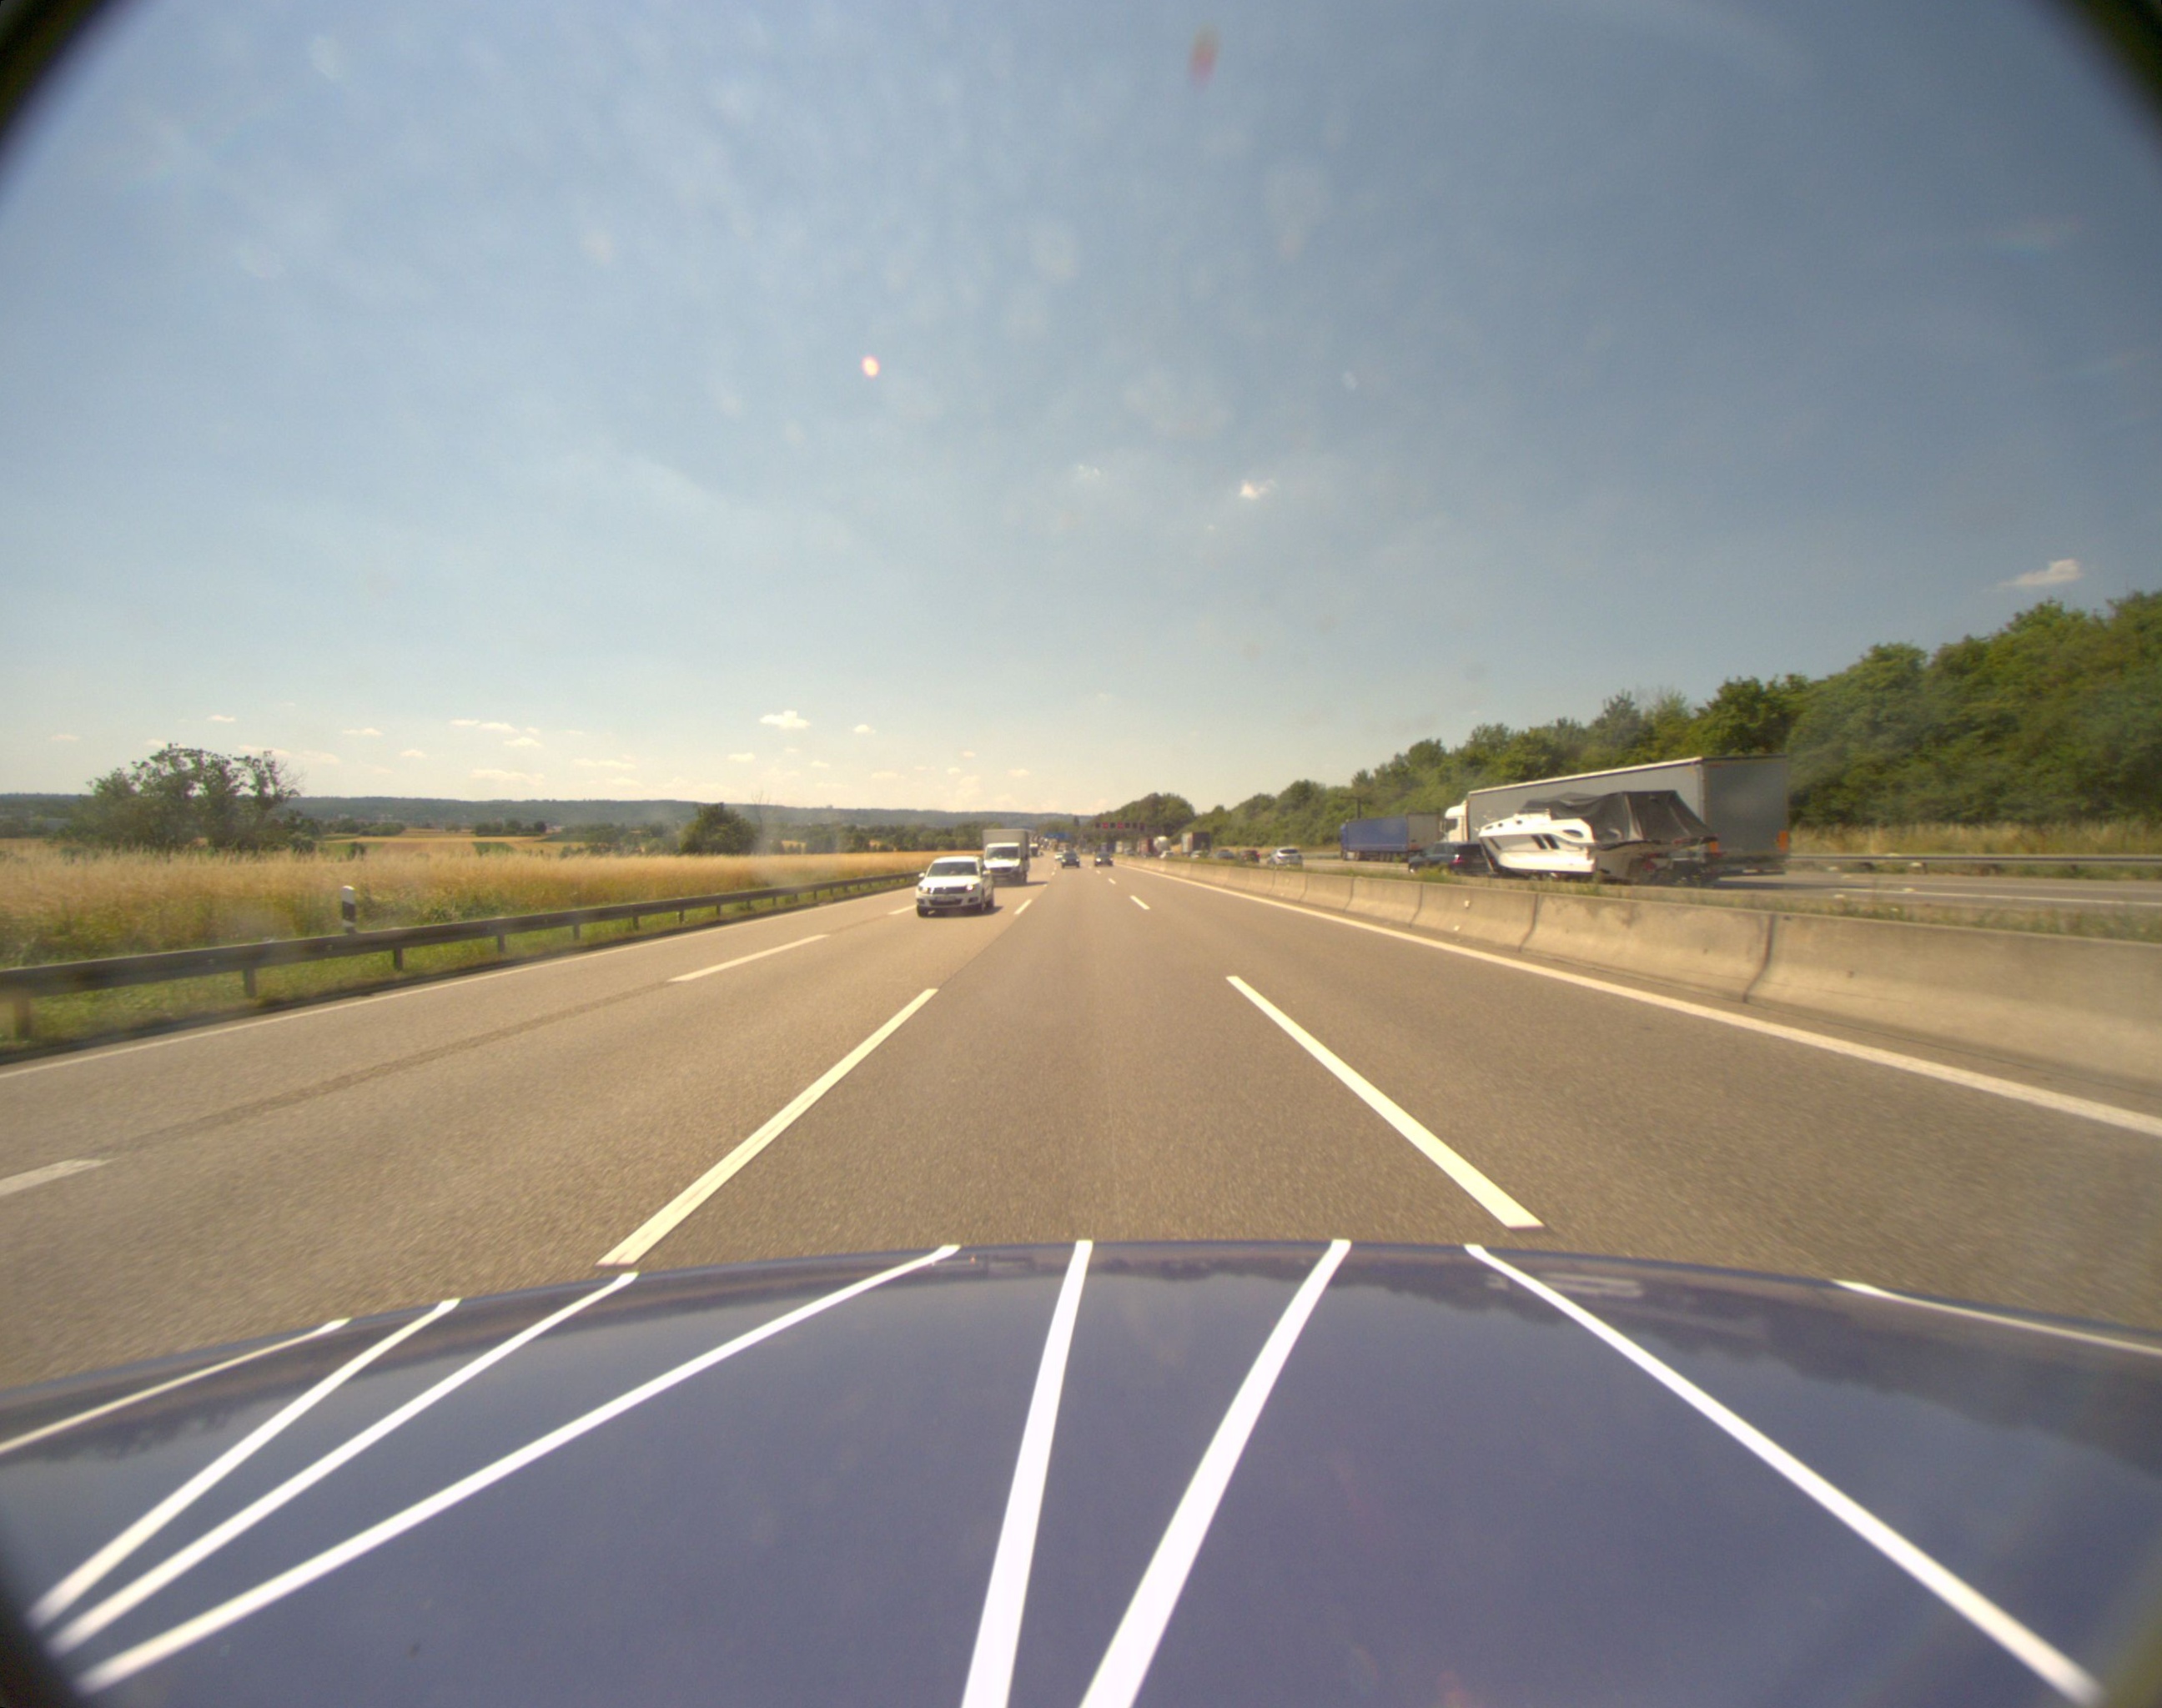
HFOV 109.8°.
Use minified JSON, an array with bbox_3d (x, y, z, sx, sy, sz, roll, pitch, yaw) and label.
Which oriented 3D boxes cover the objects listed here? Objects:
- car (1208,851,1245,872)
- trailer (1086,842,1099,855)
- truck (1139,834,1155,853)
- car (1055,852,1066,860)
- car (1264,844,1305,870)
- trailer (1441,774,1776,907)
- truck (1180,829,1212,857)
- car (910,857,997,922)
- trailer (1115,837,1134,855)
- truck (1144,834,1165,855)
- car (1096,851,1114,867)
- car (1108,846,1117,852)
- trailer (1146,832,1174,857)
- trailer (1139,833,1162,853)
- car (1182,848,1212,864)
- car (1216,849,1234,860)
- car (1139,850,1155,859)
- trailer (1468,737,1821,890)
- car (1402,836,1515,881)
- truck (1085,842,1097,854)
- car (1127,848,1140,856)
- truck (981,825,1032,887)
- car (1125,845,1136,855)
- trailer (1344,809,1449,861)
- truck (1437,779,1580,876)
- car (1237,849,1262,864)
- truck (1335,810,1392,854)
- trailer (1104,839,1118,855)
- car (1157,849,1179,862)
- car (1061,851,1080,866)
[{"bbox_3d":[11.488,0.546,60.226,1.999,1.512,4.306,-1,1,-2],"label":"car"},{"bbox_3d":[3.828,-1.973,255.020,3.133,4.143,10.193,-2,1,-5],"label":"trailer"},{"bbox_3d":[14.729,-2.354,170.543,2.976,3.986,5.130,-1,1,-2],"label":"truck"},{"bbox_3d":[-3.854,0.340,141.370,1.999,1.467,3.999,-2,1,-1],"label":"car"},{"bbox_3d":[13.697,0.164,51.319,1.846,1.667,4.442,-1,1,4],"label":"car"},{"bbox_3d":[15.582,-0.416,24.120,2.877,3.165,10.725,-2,1,-2],"label":"trailer"},{"bbox_3d":[17.315,-1.617,115.231,3.017,3.894,10.353,-1,1,-1],"label":"truck"},{"bbox_3d":[-3.603,0.946,22.175,1.837,1.635,4.172,-2,0,-1],"label":"car"},{"bbox_3d":[11.791,-2.183,205.171,3.363,4.548,13.642,-2,1,-3],"label":"trailer"},{"bbox_3d":[13.852,-1.795,143.468,2.891,3.859,6.084,-2,1,-2],"label":"truck"},{"bbox_3d":[2.613,0.520,81.022,1.807,1.534,4.751,-1,-2,2],"label":"car"},{"bbox_3d":[8.354,-1.311,203.426,1.767,1.419,3.997,-1,1,-6],"label":"car"},{"bbox_3d":[14.110,-1.792,137.054,2.945,4.141,14.166,-2,1,-2],"label":"trailer"},{"bbox_3d":[14.873,-2.268,164.091,2.946,4.086,14.079,-1,1,-2],"label":"trailer"},{"bbox_3d":[11.173,0.135,73.518,1.999,1.436,4.791,-2,0,-2],"label":"car"},{"bbox_3d":[18.453,0.040,97.367,1.751,1.396,4.212,-1,1,3],"label":"car"},{"bbox_3d":[9.915,0.001,114.469,1.796,1.268,4.220,-1,1,-2],"label":"car"},{"bbox_3d":[19.934,-1.208,29.015,3.230,4.395,13.778,-1,0,0],"label":"trailer"},{"bbox_3d":[15.589,0.149,31.749,2.112,1.713,4.930,-1,1,-2],"label":"car"},{"bbox_3d":[3.408,-2.056,260.090,3.133,4.143,6.232,-2,1,-5],"label":"truck"},{"bbox_3d":[9.579,-0.404,139.221,1.848,1.461,4.830,-2,1,-2],"label":"car"},{"bbox_3d":[-3.996,0.062,41.556,2.446,3.010,6.913,-2,1,-4],"label":"truck"},{"bbox_3d":[10.811,-0.866,166.296,1.961,2.018,4.543,-1,1,-3],"label":"car"},{"bbox_3d":[27.316,-1.509,66.973,3.088,3.948,14.492,-2,0,0],"label":"trailer"},{"bbox_3d":[19.912,-1.171,35.912,3.207,4.108,6.182,-1,0,0],"label":"truck"},{"bbox_3d":[17.610,0.234,79.532,1.882,1.441,4.633,-1,1,5],"label":"car"},{"bbox_3d":[27.265,-2.064,73.581,3.096,4.005,6.093,-2,0,-1],"label":"truck"},{"bbox_3d":[9.525,-2.257,239.723,3.021,4.699,11.021,-2,1,-4],"label":"trailer"},{"bbox_3d":[10.955,0.155,96.321,1.999,1.512,5.150,-1,1,-2],"label":"car"},{"bbox_3d":[-1.097,0.412,78.776,1.866,1.426,3.998,-1,1,-3],"label":"car"}]
